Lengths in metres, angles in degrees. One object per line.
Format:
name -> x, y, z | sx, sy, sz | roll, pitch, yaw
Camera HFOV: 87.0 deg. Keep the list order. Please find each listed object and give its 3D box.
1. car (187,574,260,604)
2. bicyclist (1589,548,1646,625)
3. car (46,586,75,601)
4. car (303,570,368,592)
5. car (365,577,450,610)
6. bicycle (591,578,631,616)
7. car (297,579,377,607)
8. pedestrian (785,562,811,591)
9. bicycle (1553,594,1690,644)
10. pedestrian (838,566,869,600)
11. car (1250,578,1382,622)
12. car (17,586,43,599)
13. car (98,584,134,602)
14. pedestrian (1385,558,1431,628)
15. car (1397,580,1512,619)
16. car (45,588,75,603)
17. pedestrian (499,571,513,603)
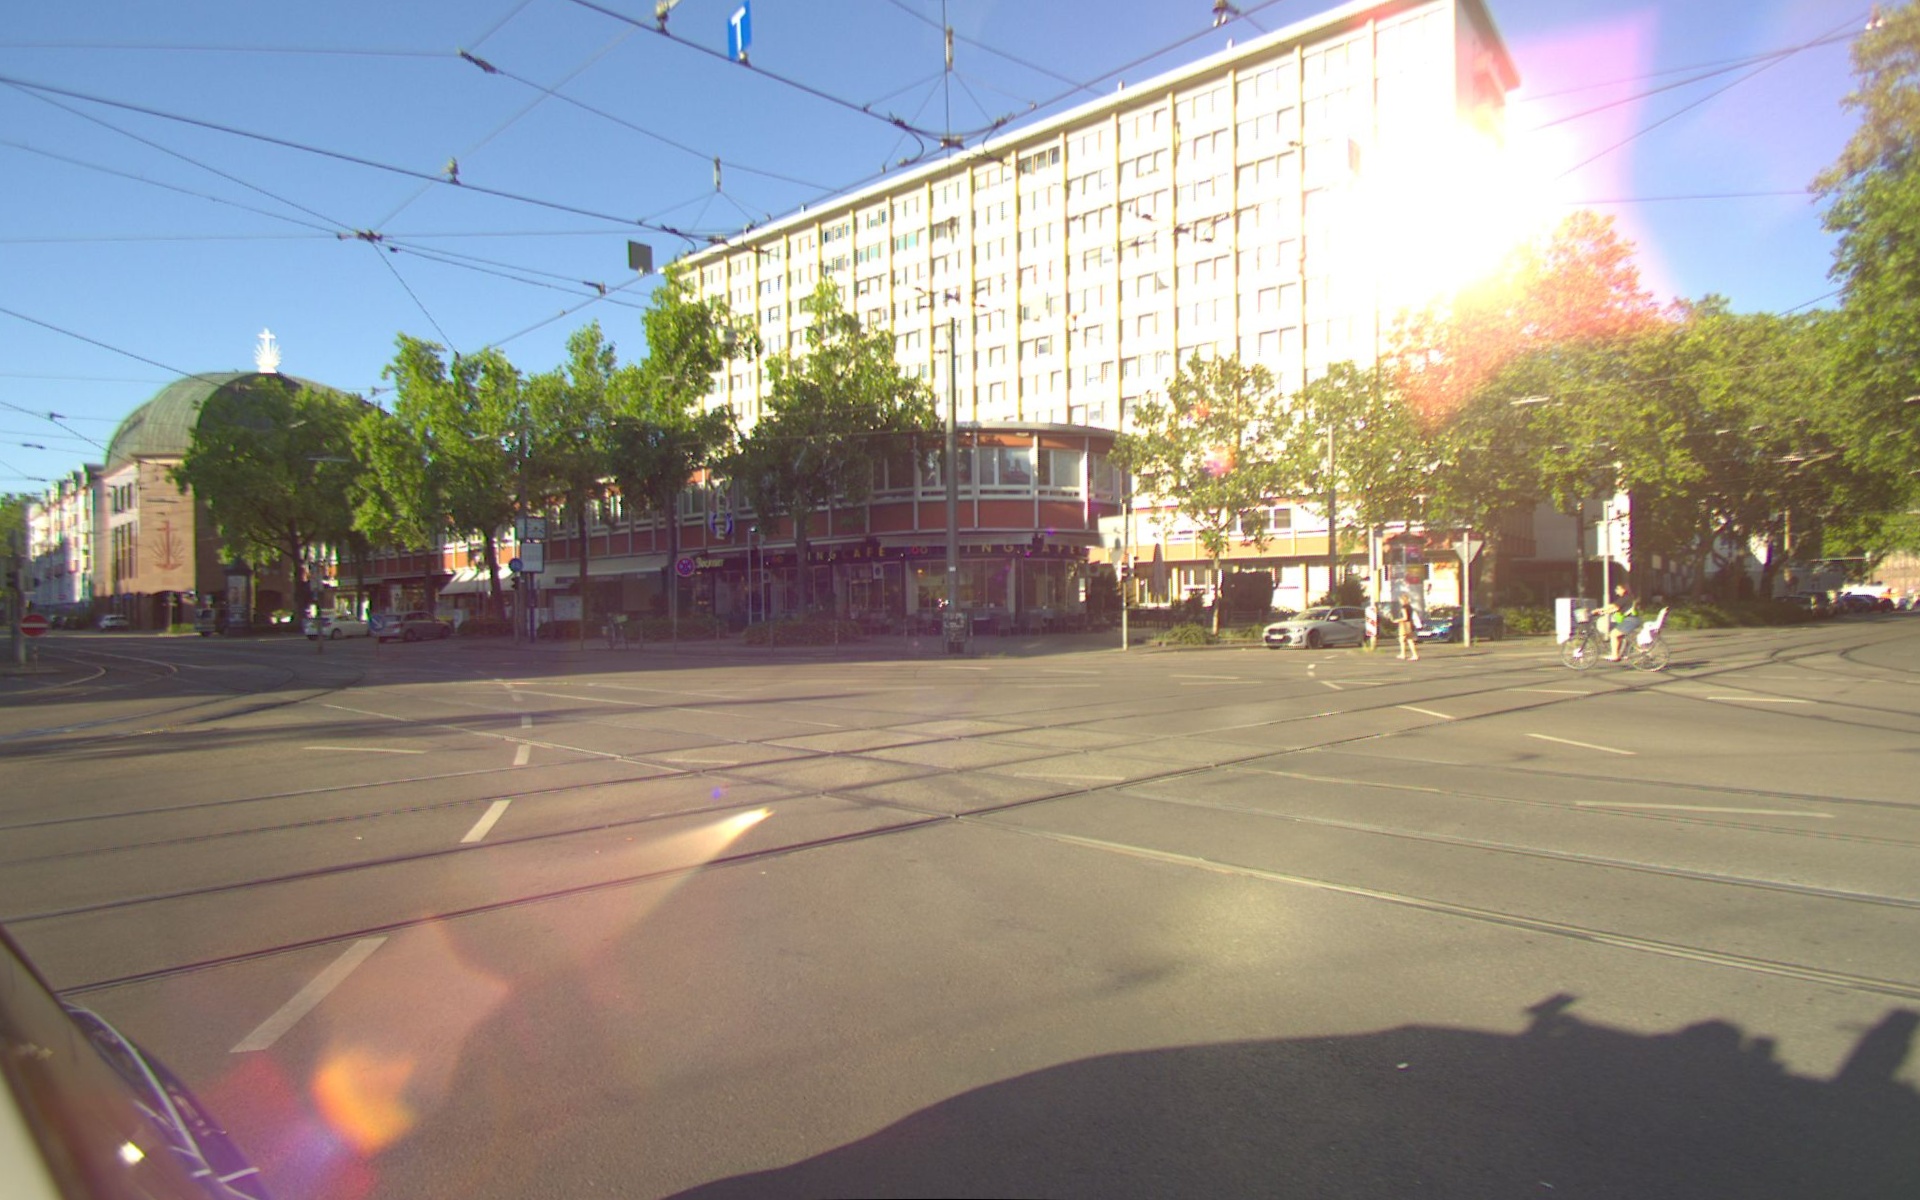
car -> -51.767, -0.804, 71.228 | 1.889, 1.978, 3.992 | -1, 2, 7
bicyclist -> 13.324, -0.261, 20.510 | 0.895, 1.478, 0.833 | 1, -2, 37
car -> -105.384, -0.749, 118.546 | 3.997, 1.615, 1.940 | 1, 3, 40
car -> -59.680, -1.791, 96.752 | 1.998, 2.029, 4.920 | 0, 1, 40
car -> -28.743, -0.385, 52.802 | 1.778, 1.565, 3.988 | -1, 2, 10
bicycle -> -12.129, -0.111, 35.147 | 0.574, 1.244, 1.859 | -3, 2, -42
car -> -36.818, -0.420, 59.906 | 1.778, 1.486, 3.988 | -1, 2, 10
pedestrian -> -7.180, -1.028, 44.909 | 0.826, 1.272, 0.910 | -1, 1, -32
bicycle -> 13.347, 0.376, 20.453 | 2.261, 0.934, 0.833 | 1, -2, 38
pedestrian -> -4.493, -0.725, 42.619 | 0.891, 1.406, 0.924 | 0, 1, 44
car -> 12.194, -0.022, 34.592 | 4.380, 1.432, 1.896 | 0, 1, -32
car -> -120.138, -0.954, 130.729 | 3.997, 1.615, 1.940 | 1, 3, 40
car -> -80.419, -0.725, 96.426 | 3.997, 1.615, 1.886 | 1, 3, 40
pedestrian -> 11.183, -0.165, 25.252 | 0.857, 1.695, 0.698 | 0, -1, -39
car -> 18.913, -0.042, 38.645 | 4.380, 1.432, 1.896 | 0, 1, -32
car -> -101.175, -0.564, 113.809 | 3.997, 1.615, 1.940 | 1, 3, 40
pedestrian -> -25.842, -0.754, 57.589 | 0.626, 1.782, 0.771 | -1, 2, -32
